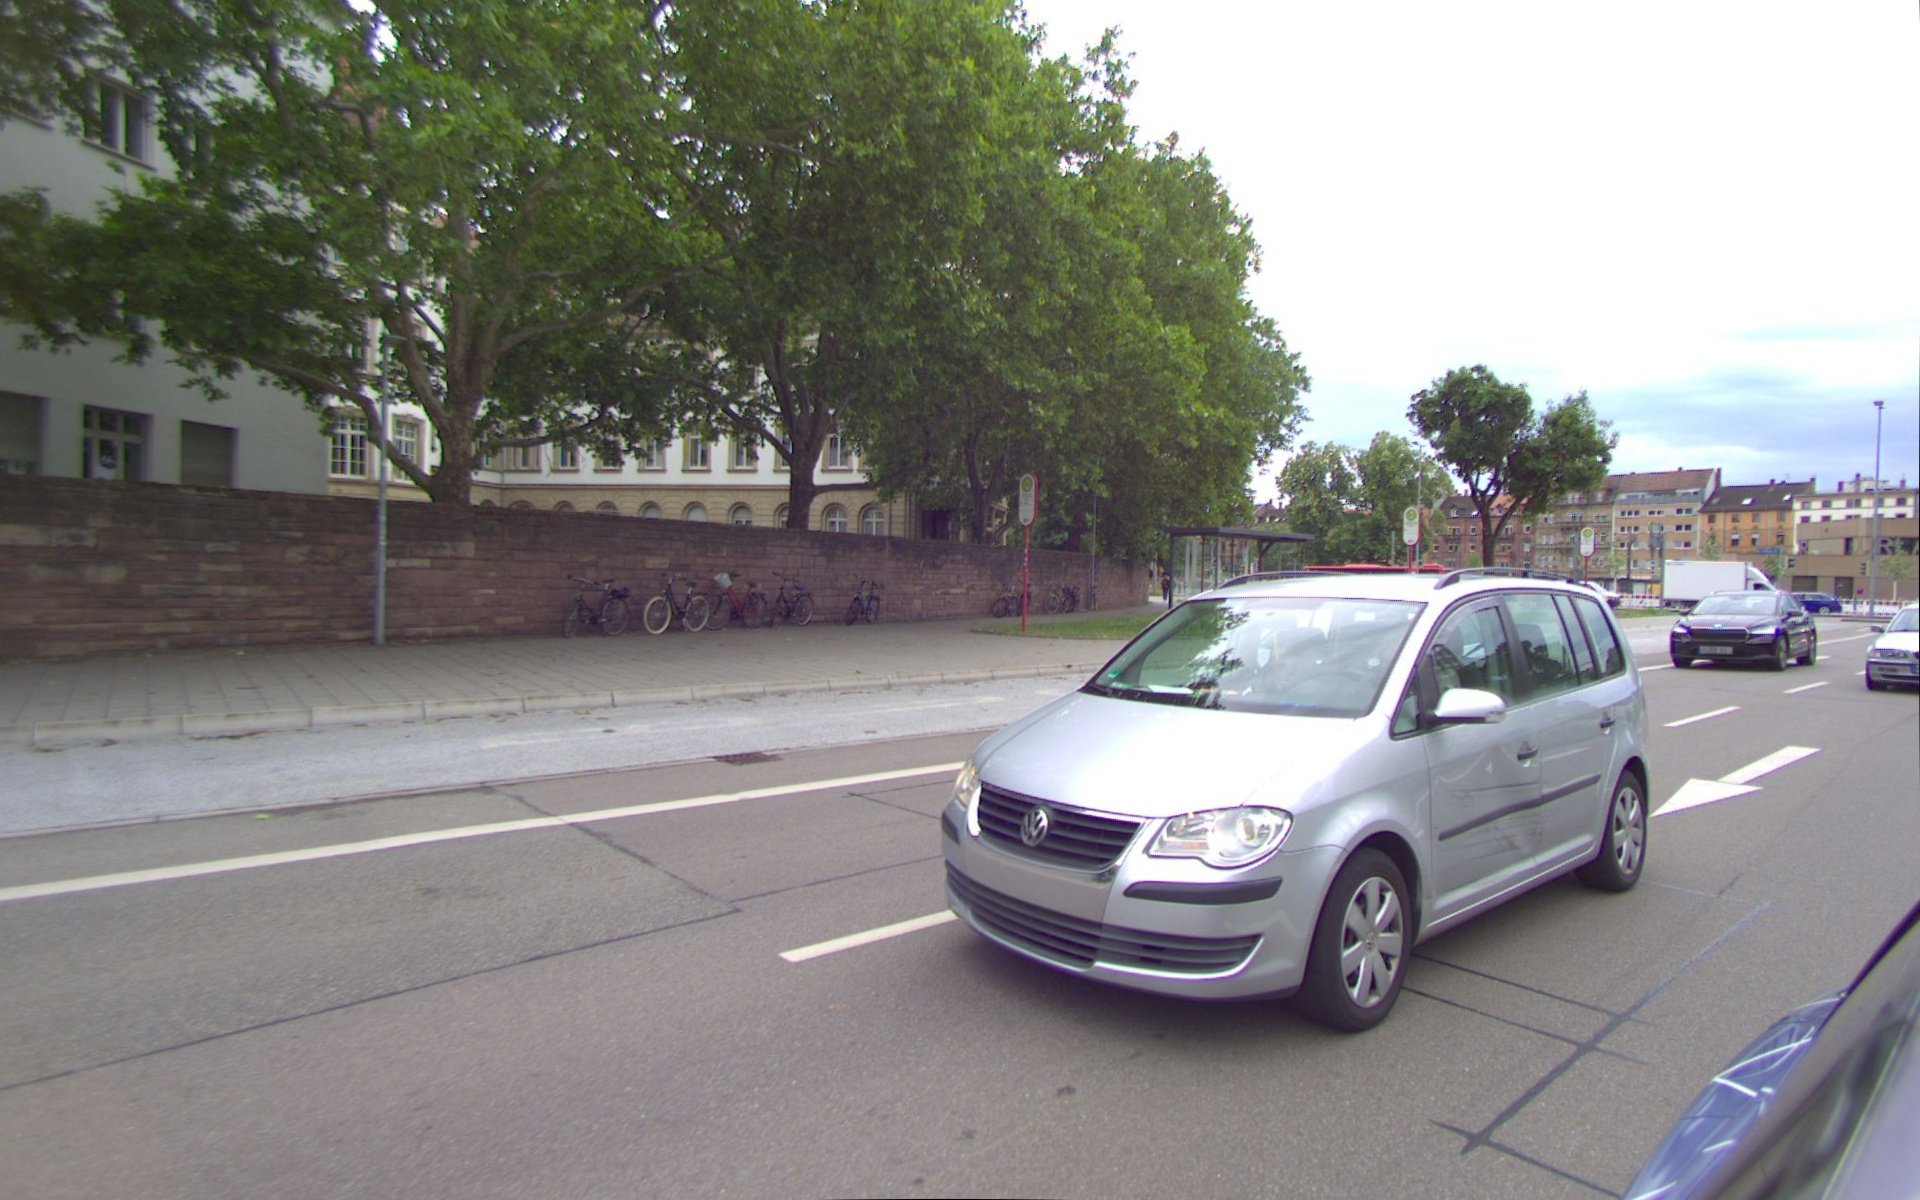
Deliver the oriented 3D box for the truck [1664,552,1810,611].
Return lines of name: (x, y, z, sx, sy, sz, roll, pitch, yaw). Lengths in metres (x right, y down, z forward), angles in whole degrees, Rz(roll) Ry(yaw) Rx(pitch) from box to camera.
truck: (47.584, -1.188, 62.127, 2.520, 3.453, 6.836, -2, 3, -45)

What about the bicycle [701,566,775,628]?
bicycle: (-4.637, -0.082, 21.223, 0.497, 1.236, 1.608, 3, 2, 32)

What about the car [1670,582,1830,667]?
car: (16.889, 0.451, 21.565, 4.413, 1.645, 1.910, 0, 0, -41)

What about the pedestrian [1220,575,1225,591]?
pedestrian: (28.467, -1.802, 109.734, 0.365, 1.726, 0.373, 1, 2, -41)

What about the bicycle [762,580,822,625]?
bicycle: (-3.751, 0.039, 22.662, 0.414, 0.954, 1.508, 3, 2, 32)

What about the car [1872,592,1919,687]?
car: (16.289, 0.609, 16.272, 4.167, 1.432, 1.726, 0, 0, -38)

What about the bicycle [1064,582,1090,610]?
bicycle: (4.430, -0.175, 38.166, 0.544, 1.004, 1.626, 3, 2, 21)

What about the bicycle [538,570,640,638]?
bicycle: (-6.567, 0.044, 18.011, 0.712, 1.113, 1.780, 3, 2, 20)

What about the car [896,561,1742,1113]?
car: (2.038, 0.620, 4.985, 4.445, 1.570, 1.829, -2, 1, -38)

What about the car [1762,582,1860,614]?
car: (53.943, -0.180, 64.256, 4.388, 1.767, 1.749, 3, 2, 26)

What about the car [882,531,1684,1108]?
car: (1.778, 0.594, 4.808, 4.032, 1.623, 1.733, 0, 1, -40)

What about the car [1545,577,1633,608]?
car: (42.194, -0.542, 67.973, 1.889, 1.942, 4.705, -4, 4, -43)

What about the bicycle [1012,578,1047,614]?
bicycle: (2.302, -0.149, 33.519, 0.589, 1.143, 1.700, 3, 2, 24)

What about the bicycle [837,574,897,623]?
bicycle: (-2.247, -0.050, 24.577, 0.593, 1.118, 1.637, 3, 2, 30)

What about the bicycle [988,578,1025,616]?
bicycle: (1.481, -0.112, 32.004, 0.589, 1.150, 1.700, 3, 2, 24)

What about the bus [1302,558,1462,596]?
bus: (34.612, -1.899, 83.676, 2.889, 2.944, 12.070, 0, 1, -43)

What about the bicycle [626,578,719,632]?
bicycle: (-5.560, 0.076, 19.670, 0.651, 0.963, 1.750, 3, 3, 32)

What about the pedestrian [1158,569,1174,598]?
pedestrian: (12.911, -1.030, 63.409, 0.743, 1.756, 0.823, 2, 2, 1)

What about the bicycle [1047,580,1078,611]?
bicycle: (3.726, -0.177, 36.604, 0.589, 1.072, 1.700, 3, 2, 24)
